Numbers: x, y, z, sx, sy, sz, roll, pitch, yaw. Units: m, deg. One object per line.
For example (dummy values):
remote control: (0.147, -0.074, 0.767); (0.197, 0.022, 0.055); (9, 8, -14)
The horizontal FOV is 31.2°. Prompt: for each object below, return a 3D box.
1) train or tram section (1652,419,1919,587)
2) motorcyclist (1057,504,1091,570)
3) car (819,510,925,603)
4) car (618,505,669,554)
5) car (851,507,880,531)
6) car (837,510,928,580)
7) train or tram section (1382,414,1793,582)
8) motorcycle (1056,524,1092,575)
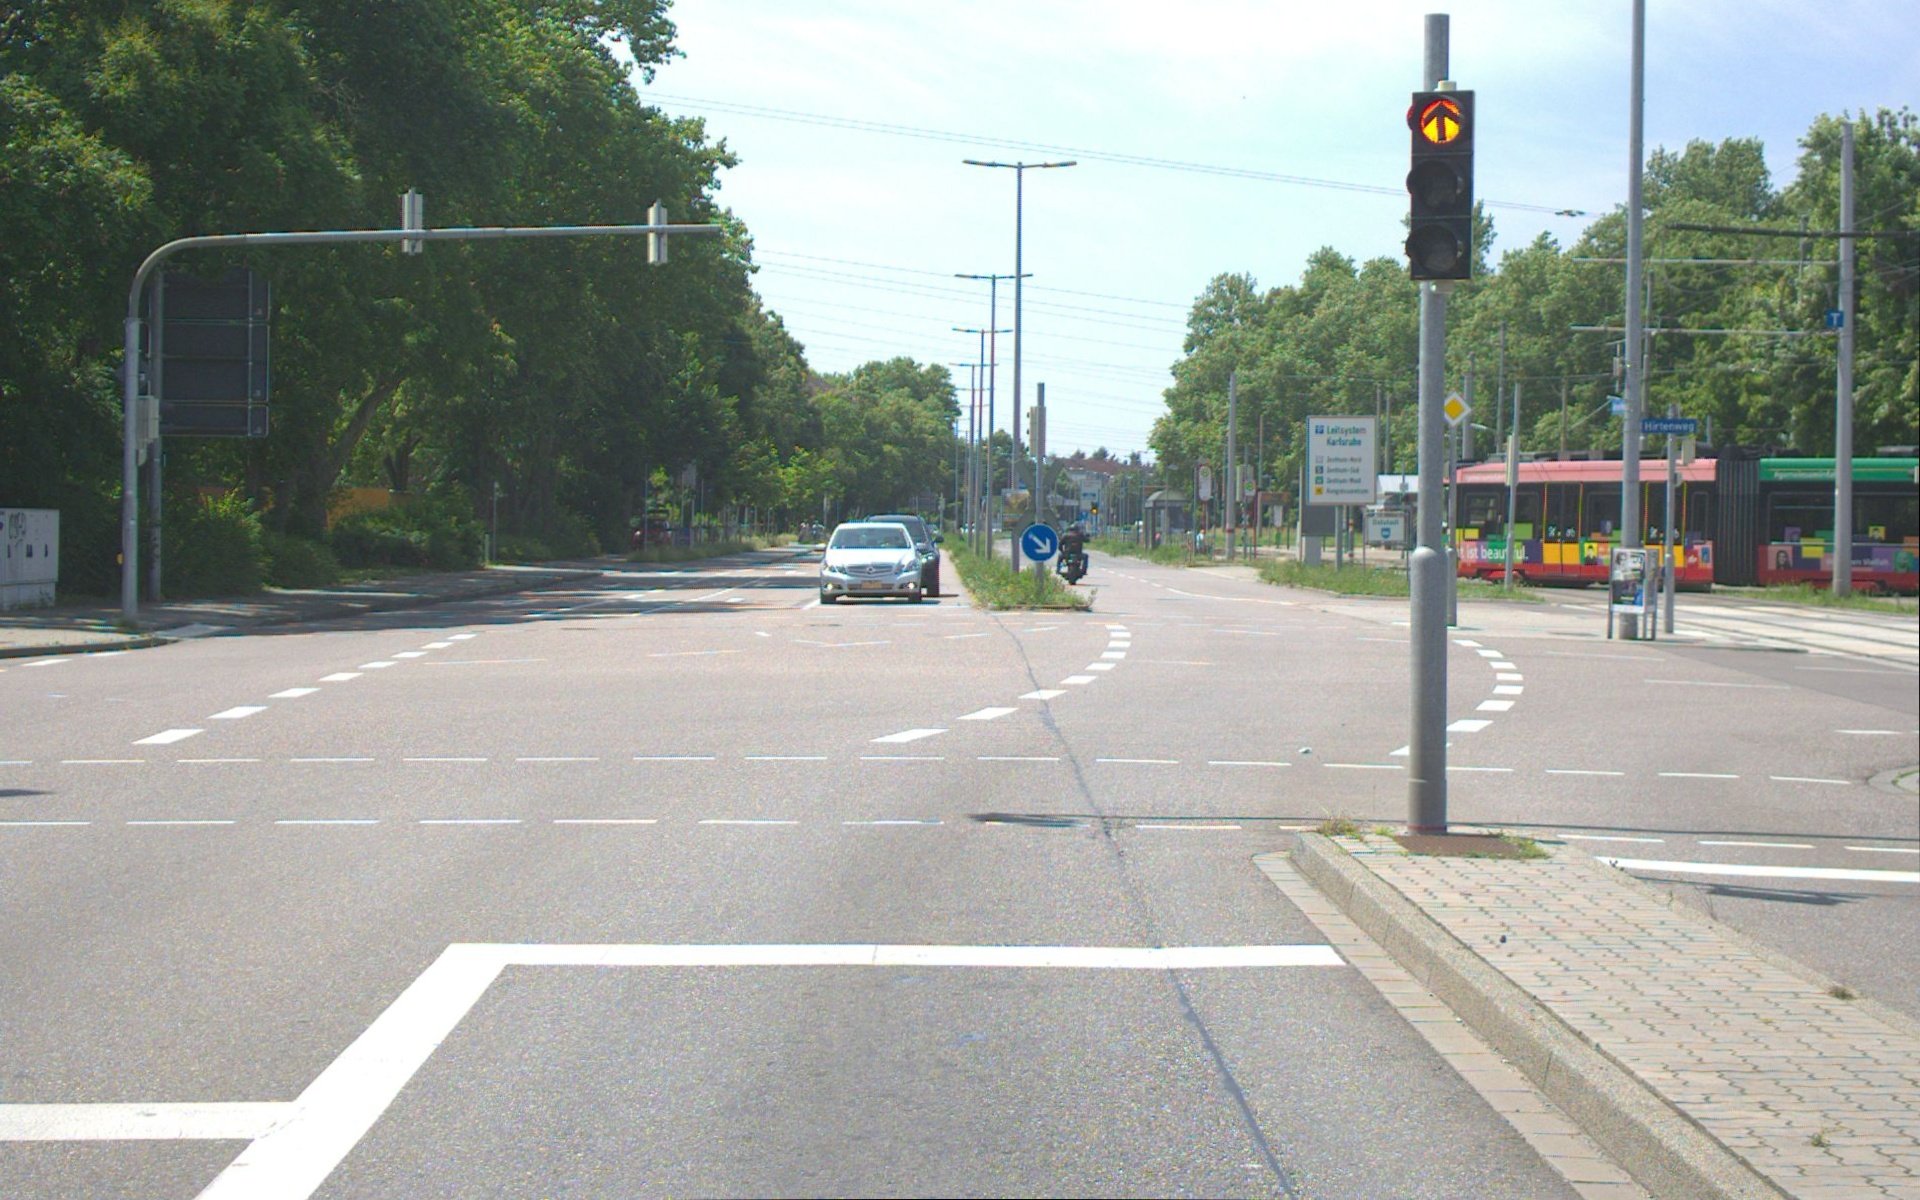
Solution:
train or tram section: (23.133, -2.247, 80.660); (13.440, 3.799, 2.917); (1, -2, 36)
motorcyclist: (2.892, -1.599, 87.111); (0.790, 1.637, 1.211); (2, 1, 1)
car: (-1.572, -0.819, 62.674); (1.784, 1.623, 3.865); (1, 2, 0)
car: (-14.116, -3.133, 153.363); (1.993, 2.007, 4.001); (4, 1, -3)
car: (-5.821, -4.993, 211.769); (1.671, 1.485, 3.711); (1, 2, 0)
car: (-1.551, -1.137, 69.961); (1.710, 1.361, 3.865); (1, 2, 0)
train or tram section: (15.993, -2.498, 89.265); (2.913, 3.799, 13.076); (3, -1, -28)
motorcycle: (2.884, -1.289, 87.052); (0.847, 1.251, 2.449); (2, 1, 1)
